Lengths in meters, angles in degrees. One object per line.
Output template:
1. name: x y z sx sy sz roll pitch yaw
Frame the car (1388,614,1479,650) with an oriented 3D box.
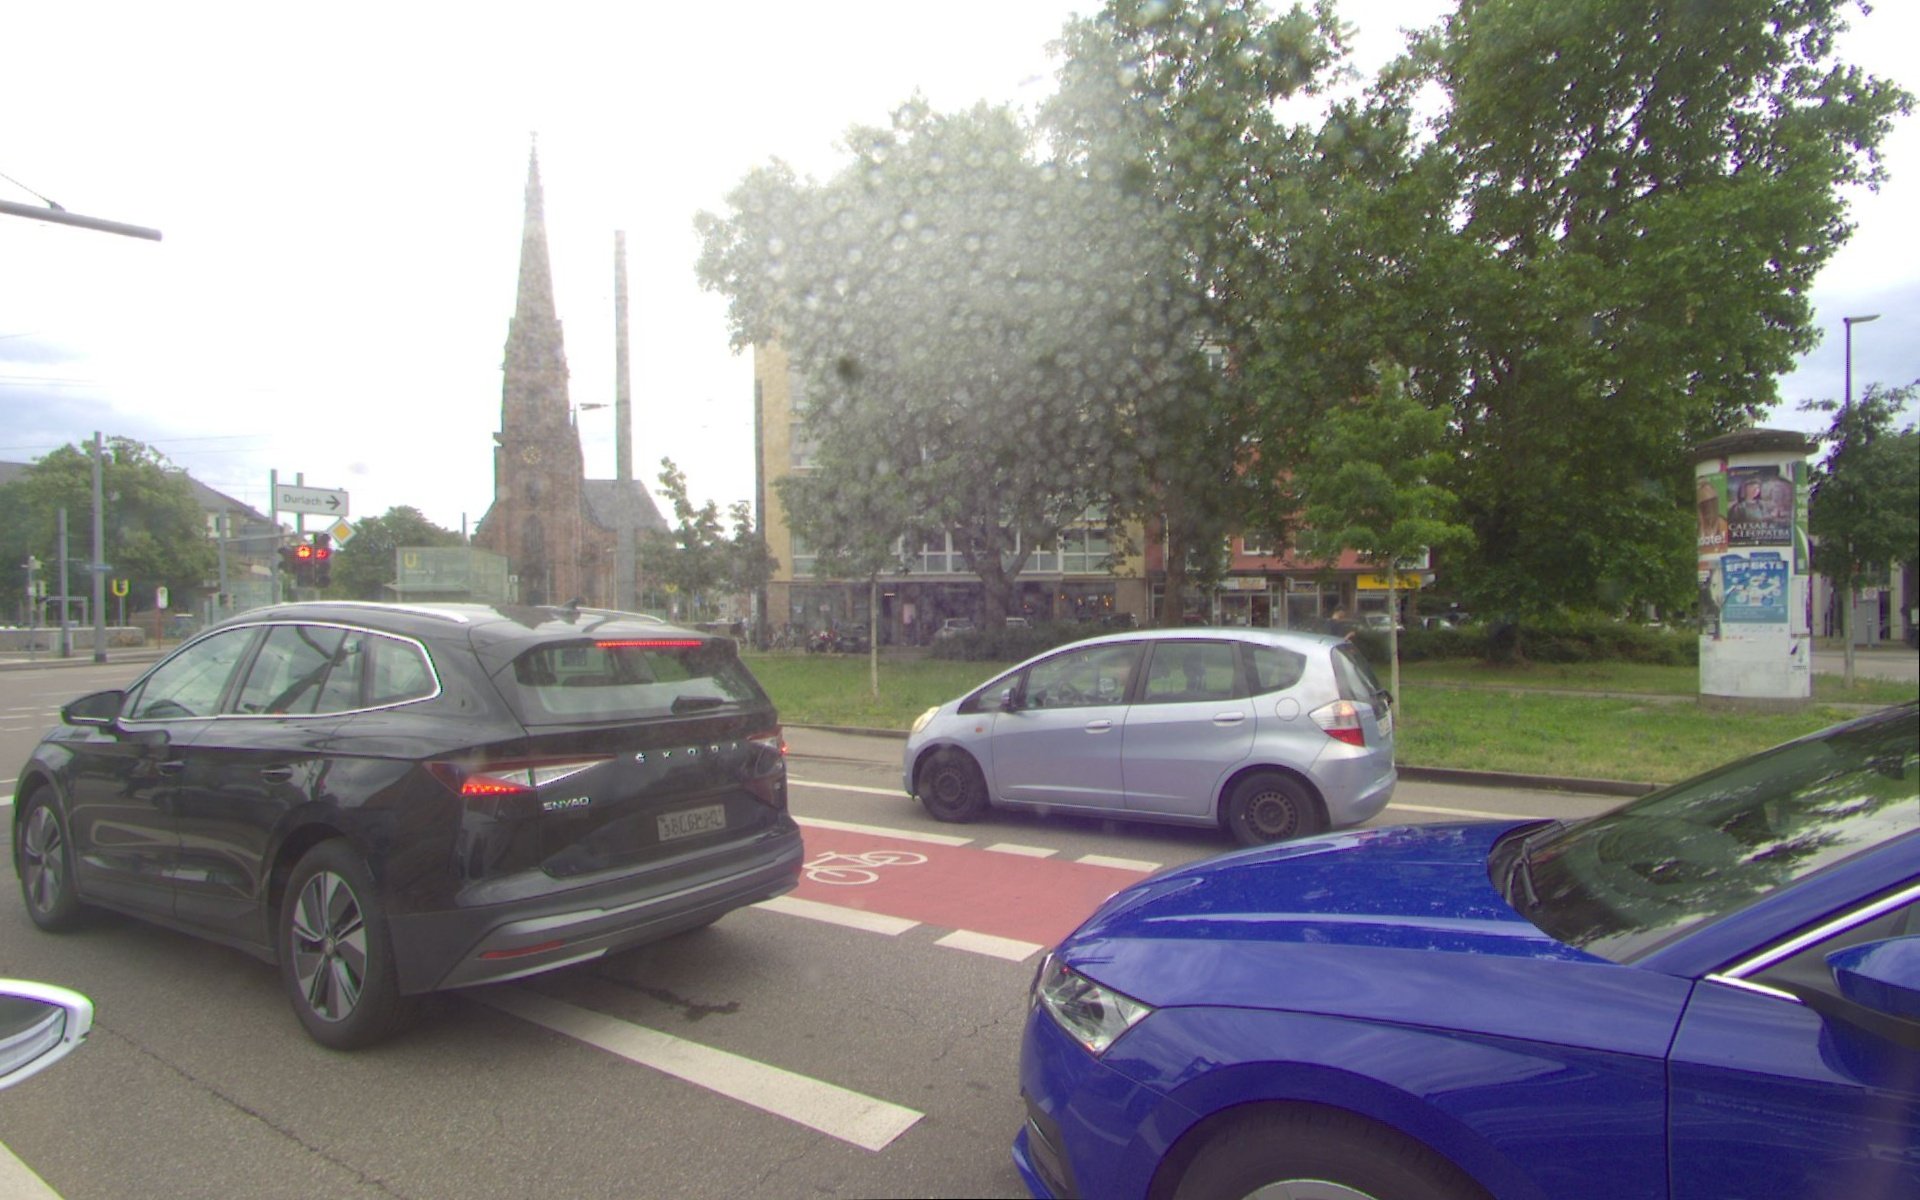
1. car: 21.974 1.470 46.679 1.825 1.568 4.476 0 -1 -5

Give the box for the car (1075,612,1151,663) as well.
1. car: 5.498 1.322 36.473 1.825 1.745 4.476 0 -1 -3

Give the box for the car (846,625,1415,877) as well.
1. car: 1.236 0.951 7.804 4.039 1.486 1.746 -1 -1 32

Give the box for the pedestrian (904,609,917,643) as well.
1. pedestrian: -2.471 1.289 50.131 0.625 1.659 0.872 0 0 0

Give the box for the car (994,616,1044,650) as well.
1. car: 2.667 1.503 46.197 1.825 1.509 4.476 0 -1 -3

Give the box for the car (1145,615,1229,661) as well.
1. car: 8.233 1.338 36.672 1.825 1.568 4.476 0 -1 -3

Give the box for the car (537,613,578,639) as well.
1. car: -32.559 2.052 81.044 1.961 2.040 4.000 0 -1 -5

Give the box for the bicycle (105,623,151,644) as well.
1. bicycle: -55.434 2.228 66.739 0.699 1.348 2.252 -2 -1 39

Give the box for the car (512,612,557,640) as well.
1. car: -32.471 1.972 76.492 1.961 2.040 4.000 0 -1 -5

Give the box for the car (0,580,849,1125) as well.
1. car: -2.845 0.793 4.899 4.444 1.617 1.774 -1 -1 31

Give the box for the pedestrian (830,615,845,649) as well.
1. pedestrian: -5.997 1.578 48.994 0.625 1.659 0.872 0 0 0

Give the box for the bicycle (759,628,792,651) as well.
1. bicycle: -7.450 1.594 40.454 1.240 0.929 0.595 0 0 2

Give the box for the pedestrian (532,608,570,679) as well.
1. pedestrian: -11.504 1.209 28.166 0.874 1.956 1.016 0 0 -16

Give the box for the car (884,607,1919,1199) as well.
1. car: 2.169 0.760 1.669 4.402 1.508 1.776 -1 -1 32

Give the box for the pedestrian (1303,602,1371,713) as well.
1. pedestrian: 6.516 0.977 17.319 0.968 1.868 0.536 0 0 -11

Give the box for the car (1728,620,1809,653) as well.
1. car: 43.527 1.948 54.017 1.828 1.644 4.469 -2 -1 17

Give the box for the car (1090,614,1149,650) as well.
1. car: 7.380 1.458 46.693 1.825 1.568 4.476 0 -1 -3

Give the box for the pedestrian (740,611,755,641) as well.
1. pedestrian: -12.064 1.474 56.815 0.771 1.659 0.637 0 0 -4

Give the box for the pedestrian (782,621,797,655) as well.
1. pedestrian: -8.576 1.896 50.376 0.625 1.659 0.872 0 0 -1

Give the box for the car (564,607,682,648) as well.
1. car: -18.099 1.478 53.940 5.674 2.039 2.011 -1 -1 -40

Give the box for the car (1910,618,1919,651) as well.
1. car: 46.504 1.596 46.340 1.865 1.568 4.469 -2 -1 17

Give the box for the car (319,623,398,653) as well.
1. car: -32.284 2.024 53.878 1.740 1.483 4.001 -2 -1 1

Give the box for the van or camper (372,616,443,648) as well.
1. van or camper: -33.023 1.889 60.001 1.961 1.764 4.305 -2 -1 -3

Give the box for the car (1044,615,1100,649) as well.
1. car: 5.140 1.458 46.499 1.825 1.509 4.476 0 -1 -3

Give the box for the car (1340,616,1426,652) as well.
1. car: 19.508 1.534 46.444 1.825 1.568 4.476 0 -1 -5

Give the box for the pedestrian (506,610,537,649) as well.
1. pedestrian: -21.080 1.423 48.133 1.066 1.820 0.947 -1 -1 -2

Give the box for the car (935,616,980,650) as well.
1. car: -0.150 1.493 46.149 1.825 1.509 4.476 0 -1 -3

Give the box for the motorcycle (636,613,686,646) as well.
1. motorcycle: -11.117 1.087 37.332 0.753 1.183 2.385 0 -1 12

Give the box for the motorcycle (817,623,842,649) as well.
1. motorcycle: -5.165 1.422 39.602 0.858 1.010 1.013 0 -1 -17

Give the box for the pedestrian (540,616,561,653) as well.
1. pedestrian: -18.880 1.587 46.148 0.625 1.659 0.872 0 0 -1
